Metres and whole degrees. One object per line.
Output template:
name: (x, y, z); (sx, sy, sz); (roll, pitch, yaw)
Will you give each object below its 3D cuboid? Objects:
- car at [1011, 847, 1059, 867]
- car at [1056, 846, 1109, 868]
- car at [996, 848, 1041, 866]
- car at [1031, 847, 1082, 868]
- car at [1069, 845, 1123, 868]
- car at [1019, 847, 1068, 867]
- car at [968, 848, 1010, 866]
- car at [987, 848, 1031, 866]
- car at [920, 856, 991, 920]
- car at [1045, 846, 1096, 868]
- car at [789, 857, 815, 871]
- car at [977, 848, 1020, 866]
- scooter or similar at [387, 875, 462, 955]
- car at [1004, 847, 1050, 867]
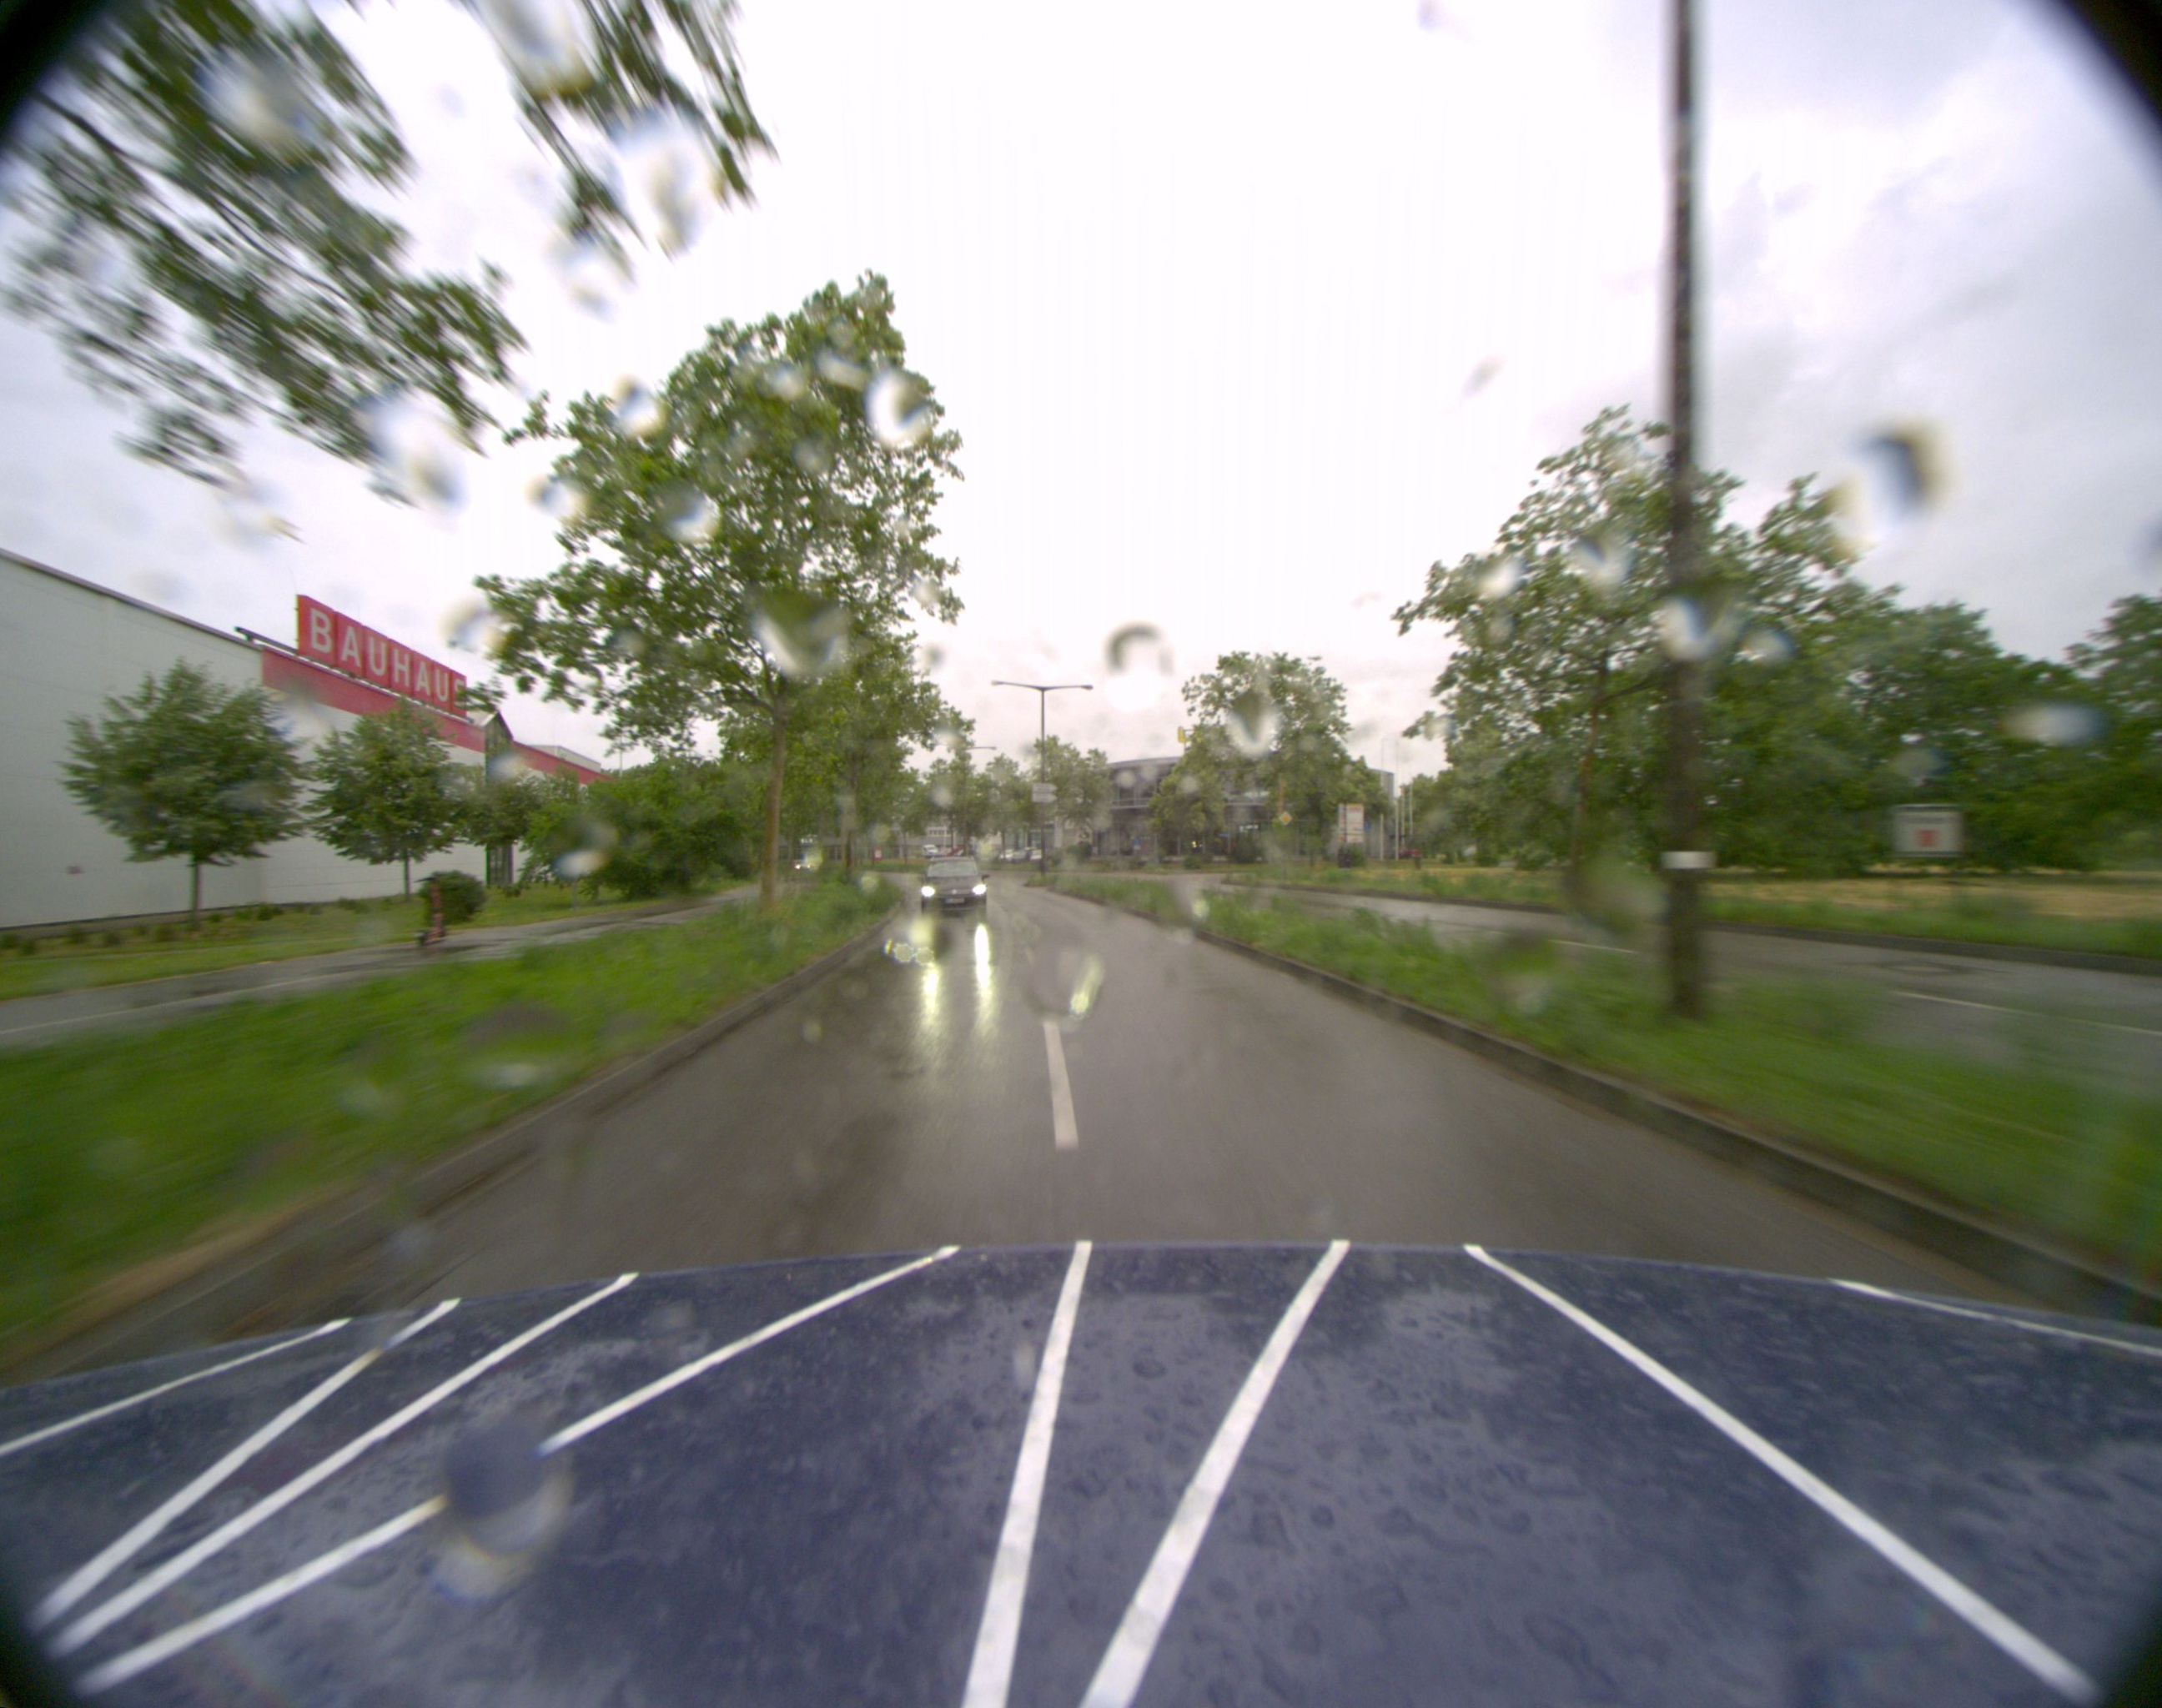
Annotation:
car: (-4.296, 0.267, 71.089); (4.006, 1.650, 1.860); (-3, 1, -35)
car: (0.164, 0.239, 63.513); (4.006, 1.650, 1.860); (-3, 1, -35)
car: (-6.175, 0.276, 75.145); (4.006, 1.650, 1.860); (-3, 1, -35)
car: (-2.160, 0.278, 66.892); (4.006, 1.650, 1.860); (-3, 1, -35)
car: (1.233, 0.223, 61.852); (4.006, 1.650, 1.860); (-3, 1, -35)
car: (-3.354, 0.263, 68.998); (4.006, 1.650, 1.860); (-3, 1, -35)
car: (-9.705, 0.334, 80.327); (4.006, 1.650, 1.860); (-3, 1, -35)
car: (-7.322, 0.289, 77.117); (4.006, 1.650, 1.860); (-3, 1, -35)
car: (-3.755, 0.905, 22.536); (1.790, 1.605, 4.712); (-3, 0, -11)
car: (-0.890, 0.255, 65.171); (4.006, 1.650, 1.860); (-3, 1, -35)
car: (-35.091, 1.270, 95.357); (2.003, 1.641, 3.989); (-2, 1, -36)
car: (-8.557, 0.313, 78.757); (4.006, 1.650, 1.860); (-3, 1, -35)
scooter or similar: (-11.500, 1.034, 13.364); (0.451, 1.267, 1.598); (-1, 1, -21)
car: (-5.177, 0.269, 73.098); (4.006, 1.650, 1.860); (-3, 1, -35)
